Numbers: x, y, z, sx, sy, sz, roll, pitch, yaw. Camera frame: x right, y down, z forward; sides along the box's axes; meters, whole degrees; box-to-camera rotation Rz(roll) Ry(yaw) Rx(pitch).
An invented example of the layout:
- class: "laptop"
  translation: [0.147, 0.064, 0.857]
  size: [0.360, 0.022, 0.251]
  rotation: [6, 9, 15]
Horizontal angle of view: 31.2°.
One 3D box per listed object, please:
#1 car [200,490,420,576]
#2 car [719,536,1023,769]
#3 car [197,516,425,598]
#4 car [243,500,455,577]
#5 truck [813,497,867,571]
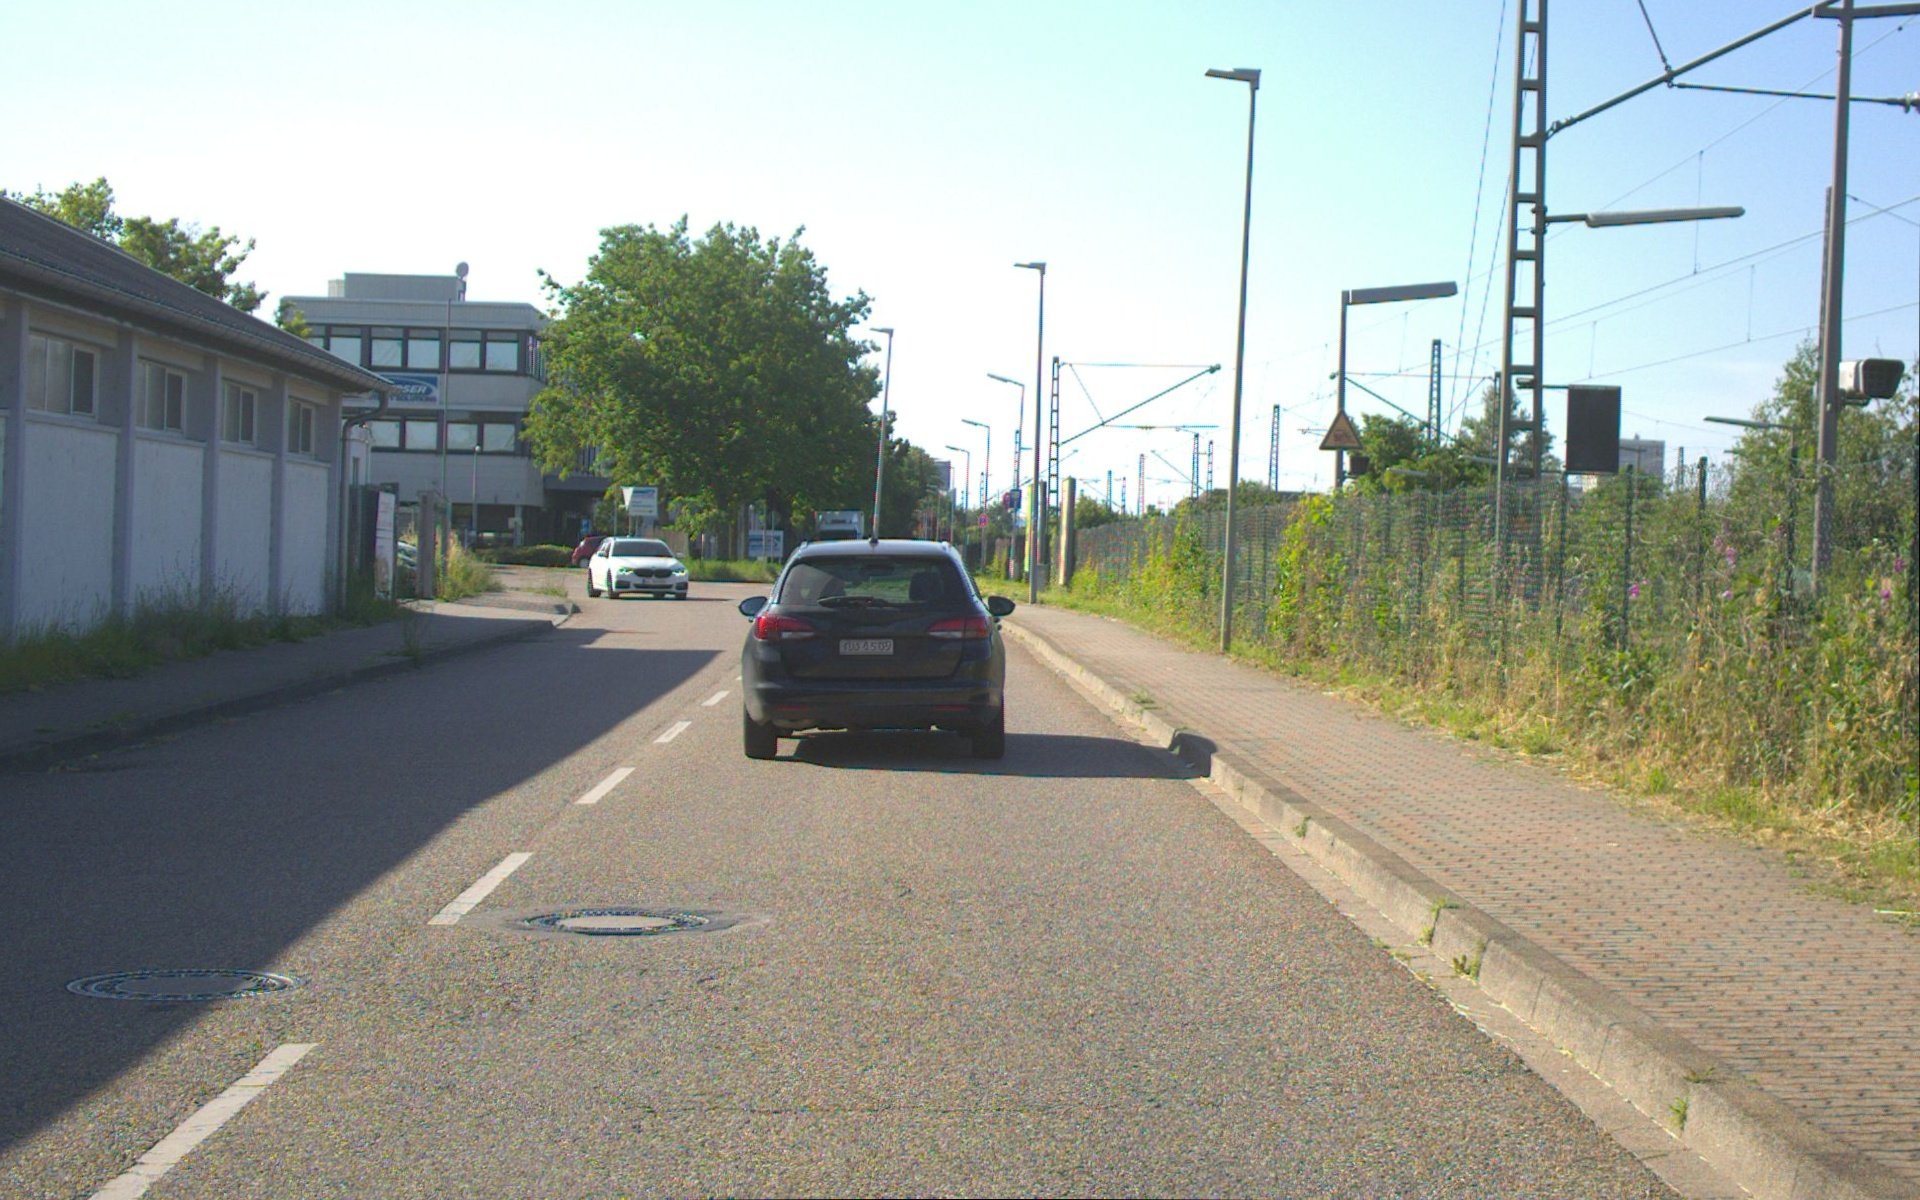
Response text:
- class: "car"
  translation: [-13.473, -1.382, 71.290]
  size: [4.388, 1.643, 1.841]
  rotation: [1, 1, -11]
- class: "car"
  translation: [-0.625, 0.308, 24.341]
  size: [1.942, 1.483, 4.566]
  rotation: [0, 1, -1]
- class: "car"
  translation: [-12.989, -0.866, 68.886]
  size: [4.388, 1.501, 1.841]
  rotation: [1, 1, -11]
- class: "car"
  translation: [-14.069, -1.421, 79.228]
  size: [4.389, 1.643, 1.840]
  rotation: [1, 1, -33]
- class: "truck"
  translation: [-6.639, -3.616, 189.397]
  size: [2.613, 3.872, 13.534]
  rotation: [2, 1, -3]
